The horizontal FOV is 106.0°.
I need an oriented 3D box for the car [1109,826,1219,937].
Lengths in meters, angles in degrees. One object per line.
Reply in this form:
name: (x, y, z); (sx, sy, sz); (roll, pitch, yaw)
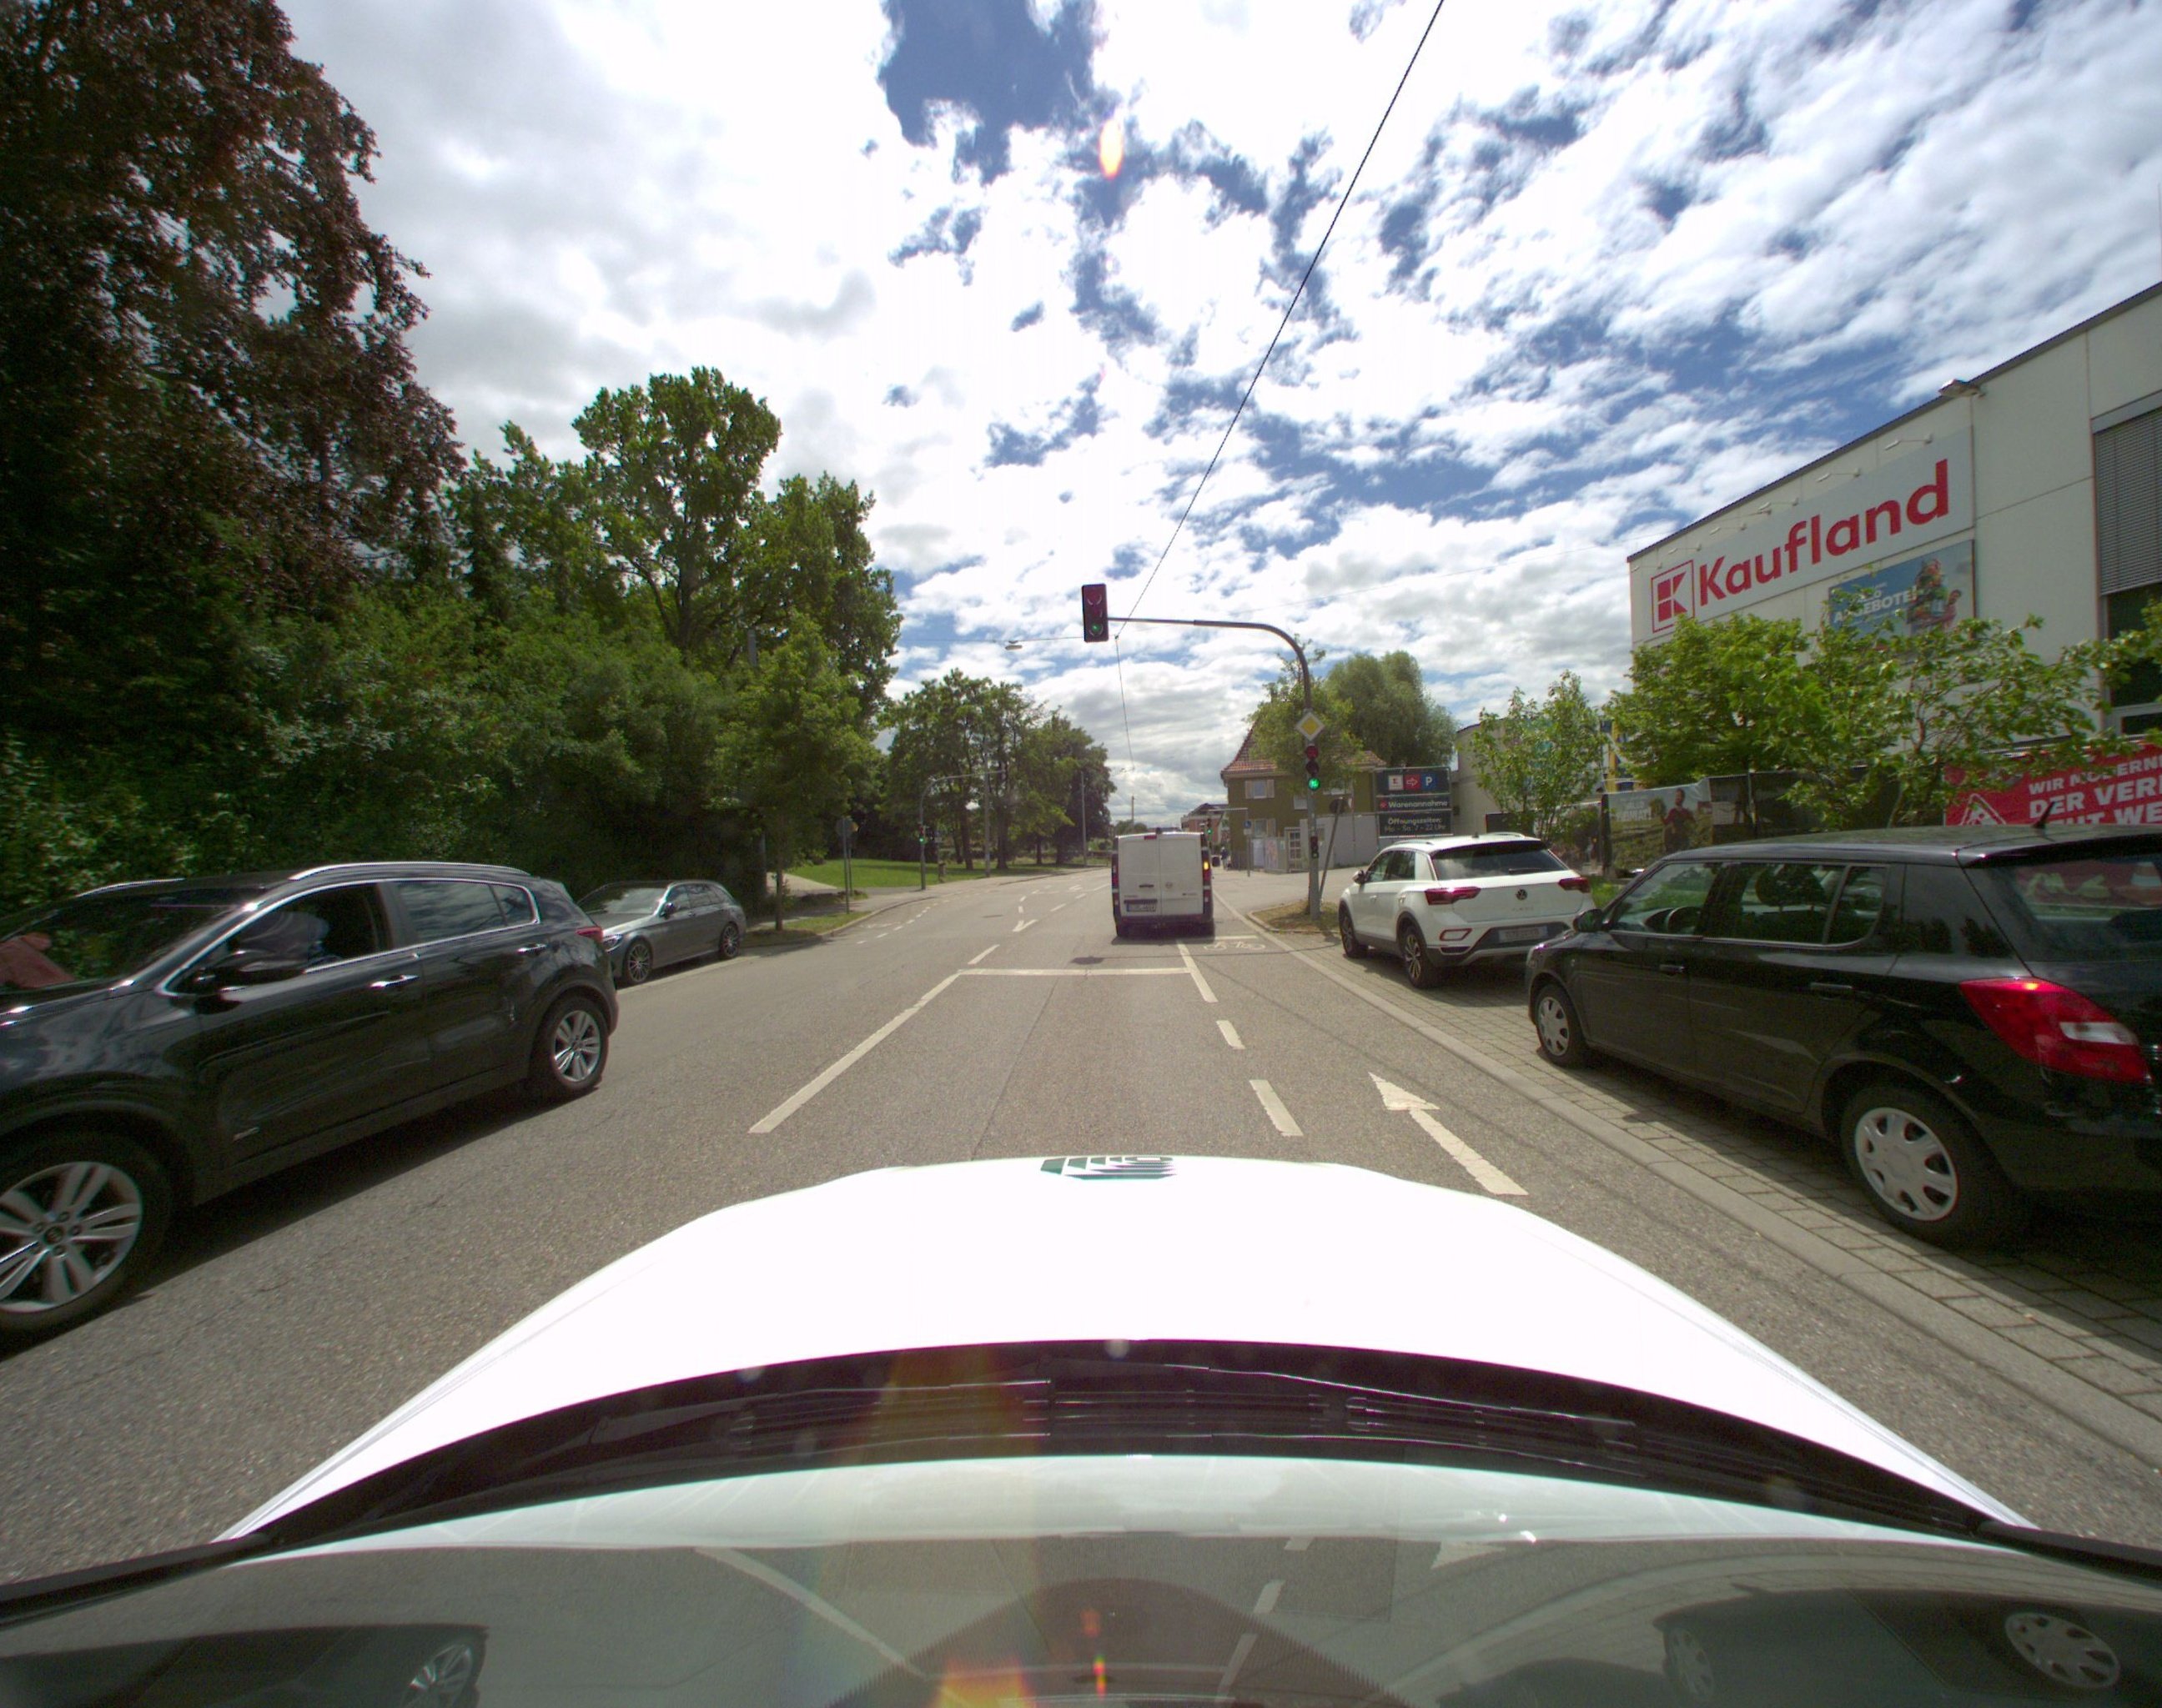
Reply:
car: (1.851, 0.490, 16.899); (1.927, 1.960, 4.845); (-1, 0, 9)

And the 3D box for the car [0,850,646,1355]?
car: (-4.370, 0.877, 4.152); (1.826, 1.616, 4.154); (-5, 0, 2)

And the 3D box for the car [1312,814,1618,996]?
car: (4.332, 0.502, 10.071); (1.730, 1.616, 4.389); (-5, 0, 2)

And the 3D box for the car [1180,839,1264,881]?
car: (6.605, 0.324, 38.524); (1.614, 1.606, 3.959); (-6, 0, -31)

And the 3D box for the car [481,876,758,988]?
car: (-7.068, 1.098, 13.166); (1.688, 1.365, 4.687); (-1, 0, 1)

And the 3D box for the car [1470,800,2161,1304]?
car: (3.843, 0.572, 4.454); (1.562, 1.493, 4.002); (-4, 0, 2)

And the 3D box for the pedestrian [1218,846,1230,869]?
pedestrian: (10.246, 0.248, 58.397); (0.675, 1.553, 0.836); (-4, -3, 5)

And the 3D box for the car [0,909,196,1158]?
car: (-7.444, 1.143, 3.991); (1.643, 1.450, 4.106); (-1, 0, 1)
